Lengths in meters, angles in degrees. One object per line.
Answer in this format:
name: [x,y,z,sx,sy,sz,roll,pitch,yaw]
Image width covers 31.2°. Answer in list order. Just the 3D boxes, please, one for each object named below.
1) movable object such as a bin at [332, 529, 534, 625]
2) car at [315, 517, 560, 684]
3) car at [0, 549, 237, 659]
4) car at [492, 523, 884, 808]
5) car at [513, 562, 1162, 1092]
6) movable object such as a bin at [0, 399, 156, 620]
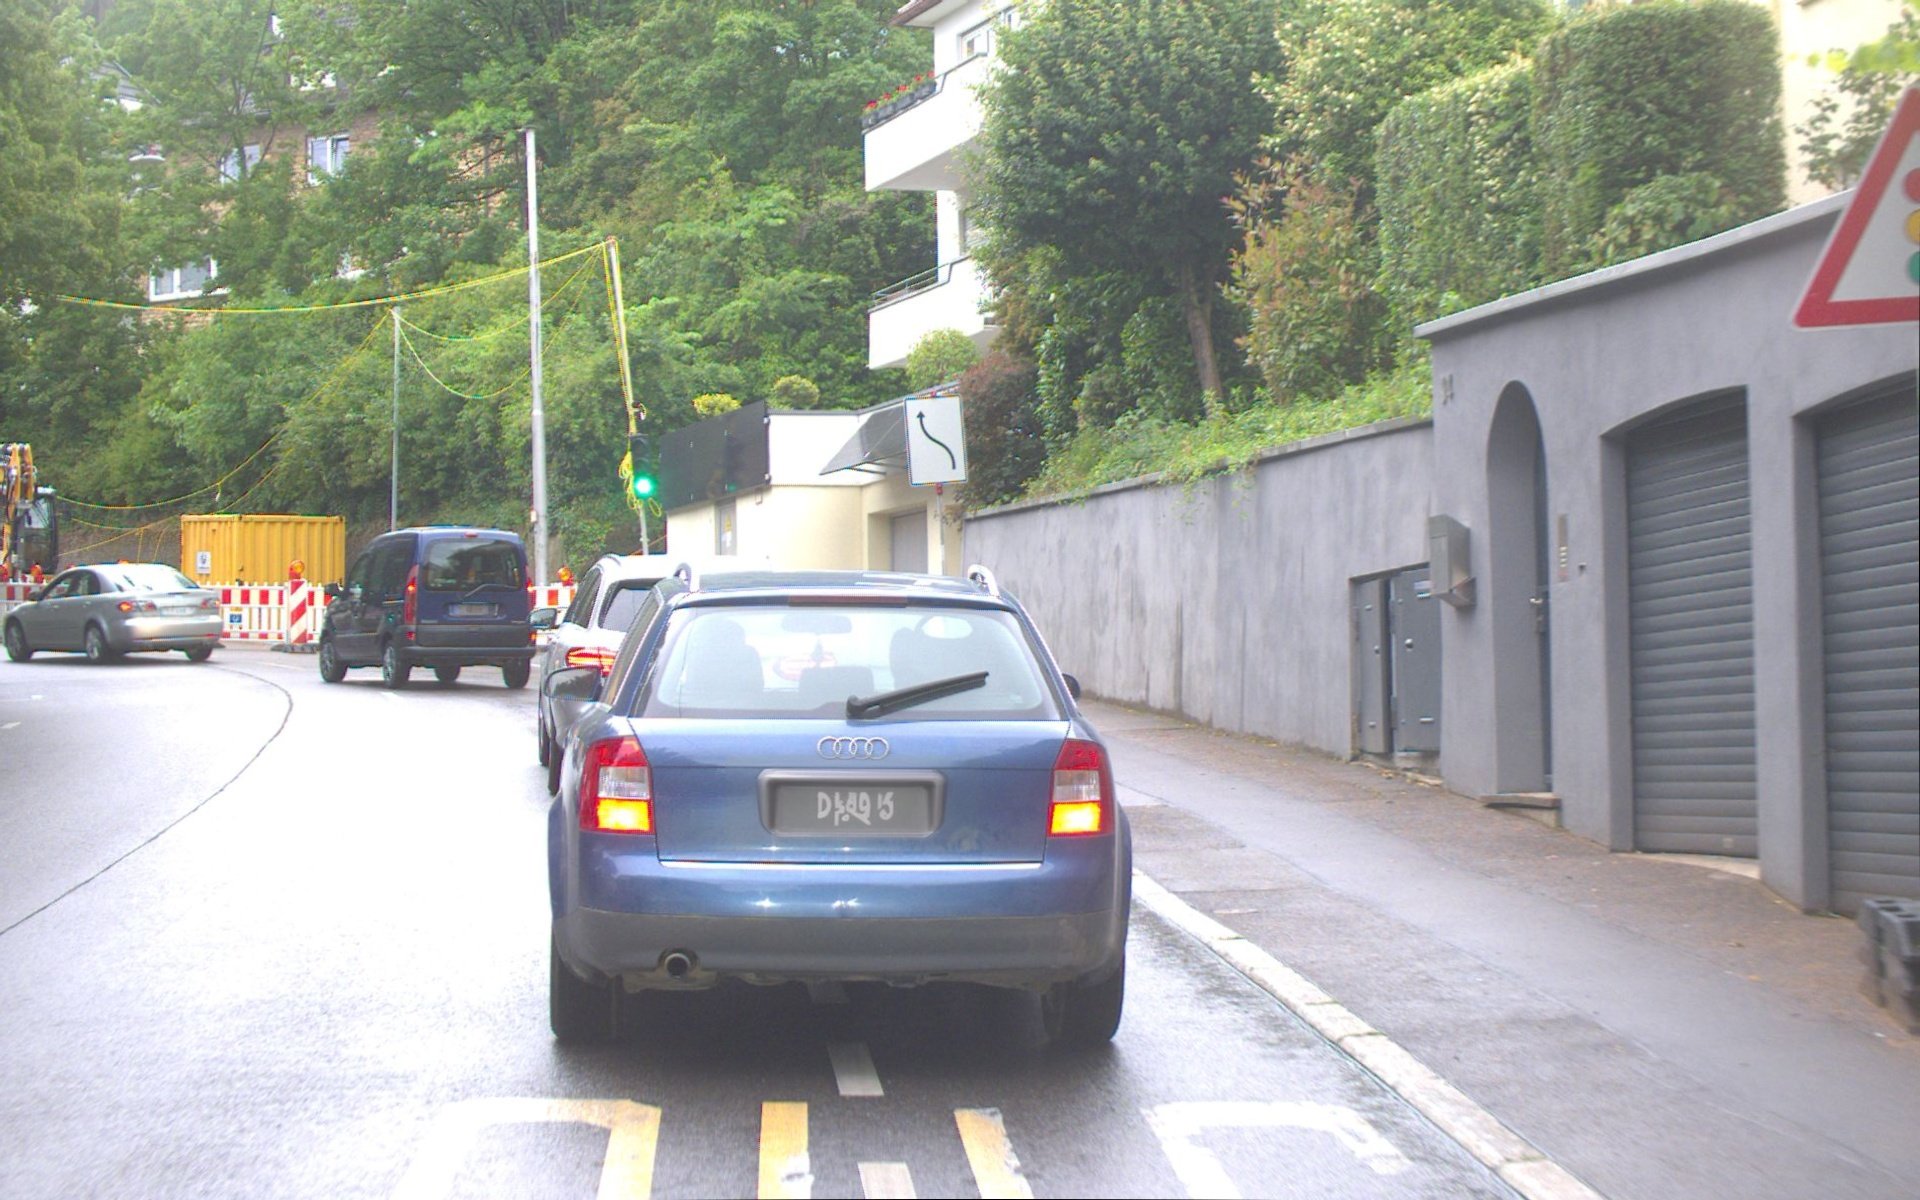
movable object such as a bin: [-8.860,-0.404,57.531,1.993,1.514,4.000,0,1,-31]
car: [-6.137,-0.018,40.050,1.993,1.787,4.001,-2,1,-20]
car: [-12.319,0.057,49.914,1.721,1.481,4.074,-3,2,-41]
car: [-1.836,0.324,21.874,1.925,1.612,4.322,0,1,-12]
car: [-0.508,0.596,11.431,1.785,1.437,3.964,0,1,-5]
movable object such as a bin: [-18.441,-1.729,66.187,2.820,4.000,7.324,-1,2,-39]
